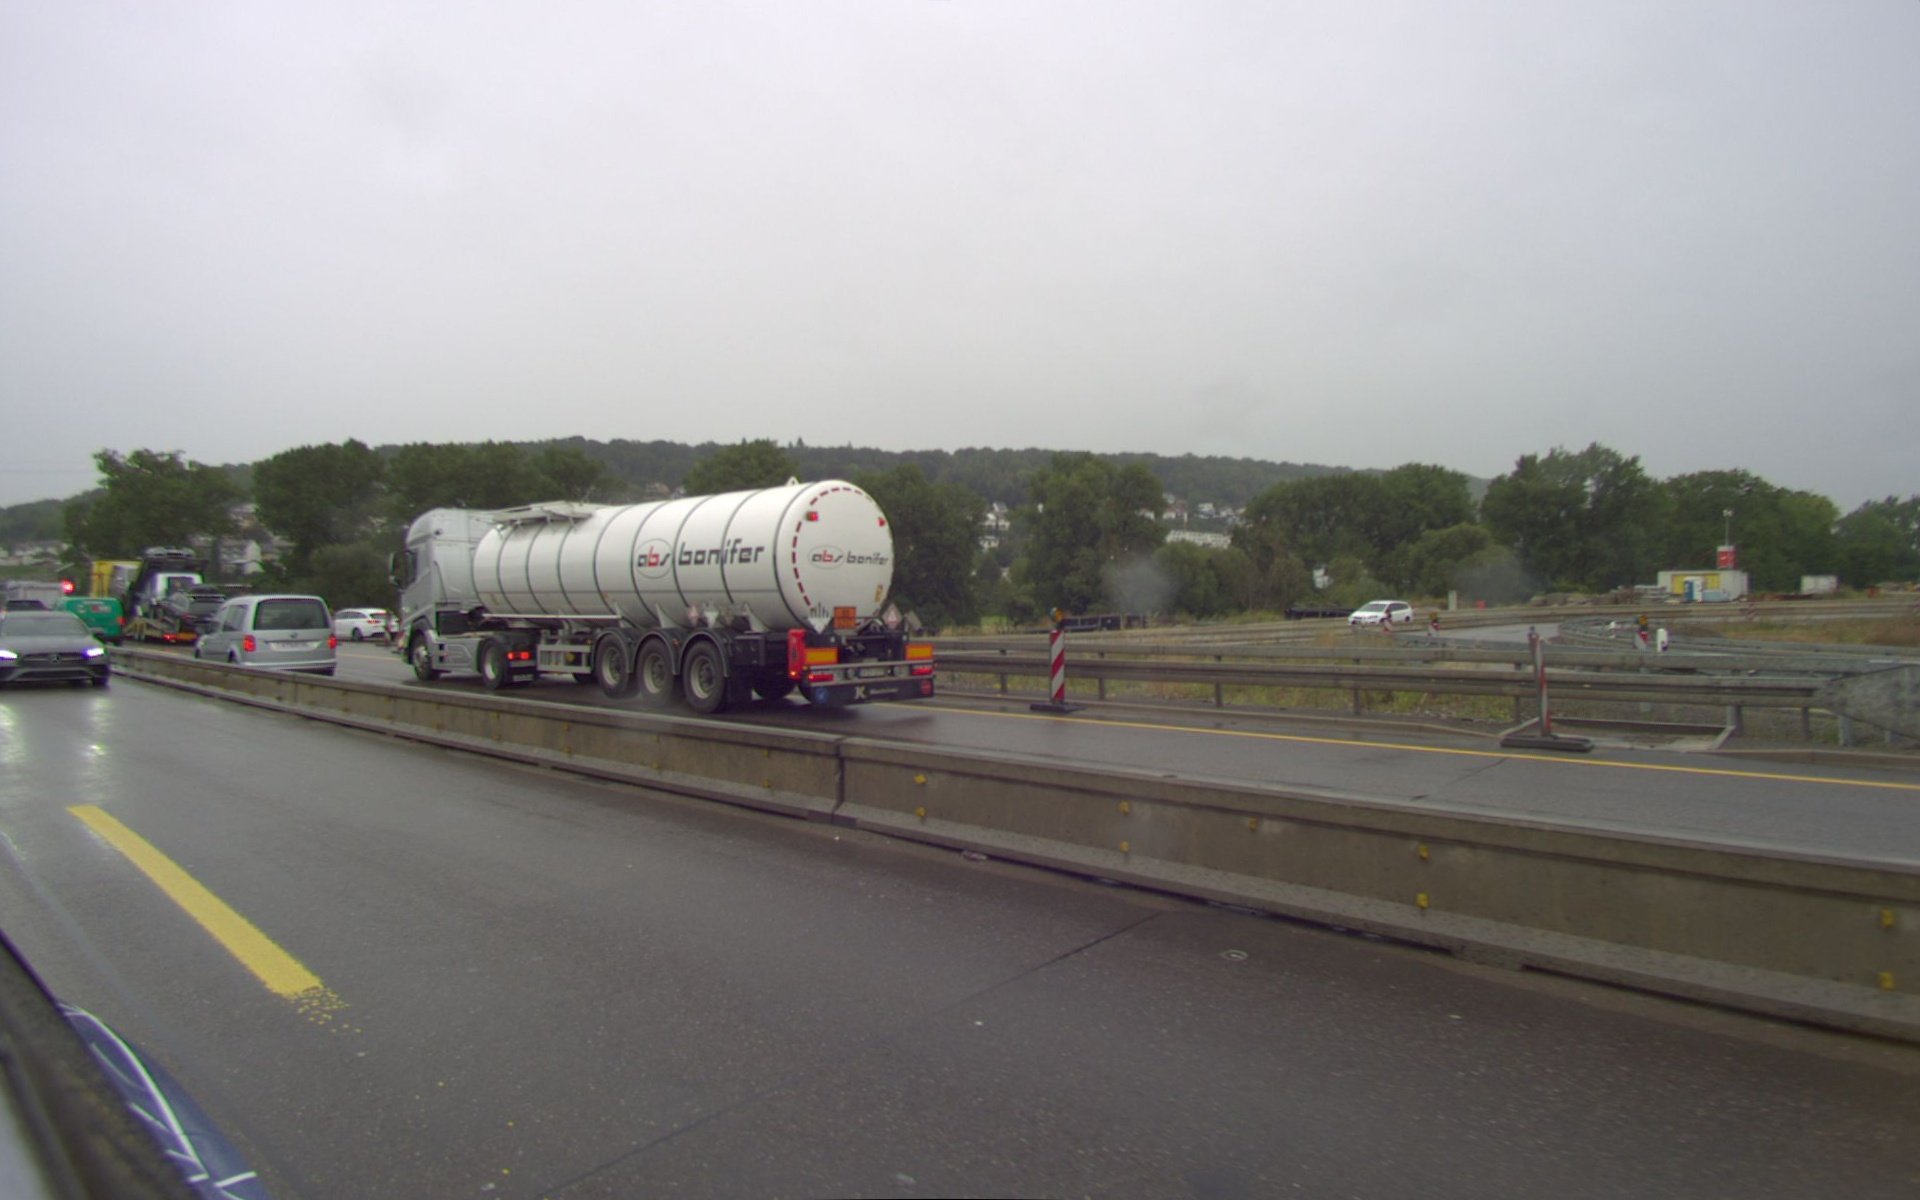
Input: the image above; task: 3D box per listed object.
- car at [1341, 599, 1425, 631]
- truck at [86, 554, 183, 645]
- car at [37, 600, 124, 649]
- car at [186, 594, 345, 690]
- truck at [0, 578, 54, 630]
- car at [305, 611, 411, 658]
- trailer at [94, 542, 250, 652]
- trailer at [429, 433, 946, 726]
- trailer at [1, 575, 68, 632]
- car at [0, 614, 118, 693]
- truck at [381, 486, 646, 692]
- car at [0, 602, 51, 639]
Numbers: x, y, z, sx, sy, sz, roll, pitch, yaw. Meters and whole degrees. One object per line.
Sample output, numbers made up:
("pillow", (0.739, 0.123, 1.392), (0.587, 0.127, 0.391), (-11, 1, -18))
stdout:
("car", (23.275, 0.793, 55.636), (4.962, 1.713, 1.855), (0, 0, -35))
("truck", (-39.687, -0.010, 48.579), (6.146, 4.093, 2.720), (-1, -1, 42))
("car", (-33.633, 0.900, 38.667), (4.686, 1.772, 1.972), (-1, -1, 42))
("car", (-14.725, 0.823, 21.380), (4.161, 1.813, 1.846), (-1, -1, 41))
("truck", (-72.498, 0.350, 78.550), (5.272, 3.957, 2.657), (-1, -2, 42))
("car", (-27.889, 1.561, 46.858), (4.820, 2.078, 2.052), (0, 0, 28))
("trailer", (-34.377, -0.062, 43.742), (15.355, 4.073, 2.720), (-1, -1, 42))
("trailer", (-5.554, -0.203, 17.778), (11.998, 3.705, 2.593), (-1, -1, 41))
("trailer", (-68.855, 0.326, 75.238), (9.817, 3.993, 2.657), (-1, -2, 42))
("car", (-19.047, 1.023, 20.935), (4.483, 1.449, 1.926), (-1, -1, 43))
("truck", (-9.568, -0.168, 21.337), (6.592, 3.705, 2.593), (-1, -1, 41))
("car", (-47.764, 1.032, 51.401), (5.188, 1.819, 1.768), (0, -2, 42))
